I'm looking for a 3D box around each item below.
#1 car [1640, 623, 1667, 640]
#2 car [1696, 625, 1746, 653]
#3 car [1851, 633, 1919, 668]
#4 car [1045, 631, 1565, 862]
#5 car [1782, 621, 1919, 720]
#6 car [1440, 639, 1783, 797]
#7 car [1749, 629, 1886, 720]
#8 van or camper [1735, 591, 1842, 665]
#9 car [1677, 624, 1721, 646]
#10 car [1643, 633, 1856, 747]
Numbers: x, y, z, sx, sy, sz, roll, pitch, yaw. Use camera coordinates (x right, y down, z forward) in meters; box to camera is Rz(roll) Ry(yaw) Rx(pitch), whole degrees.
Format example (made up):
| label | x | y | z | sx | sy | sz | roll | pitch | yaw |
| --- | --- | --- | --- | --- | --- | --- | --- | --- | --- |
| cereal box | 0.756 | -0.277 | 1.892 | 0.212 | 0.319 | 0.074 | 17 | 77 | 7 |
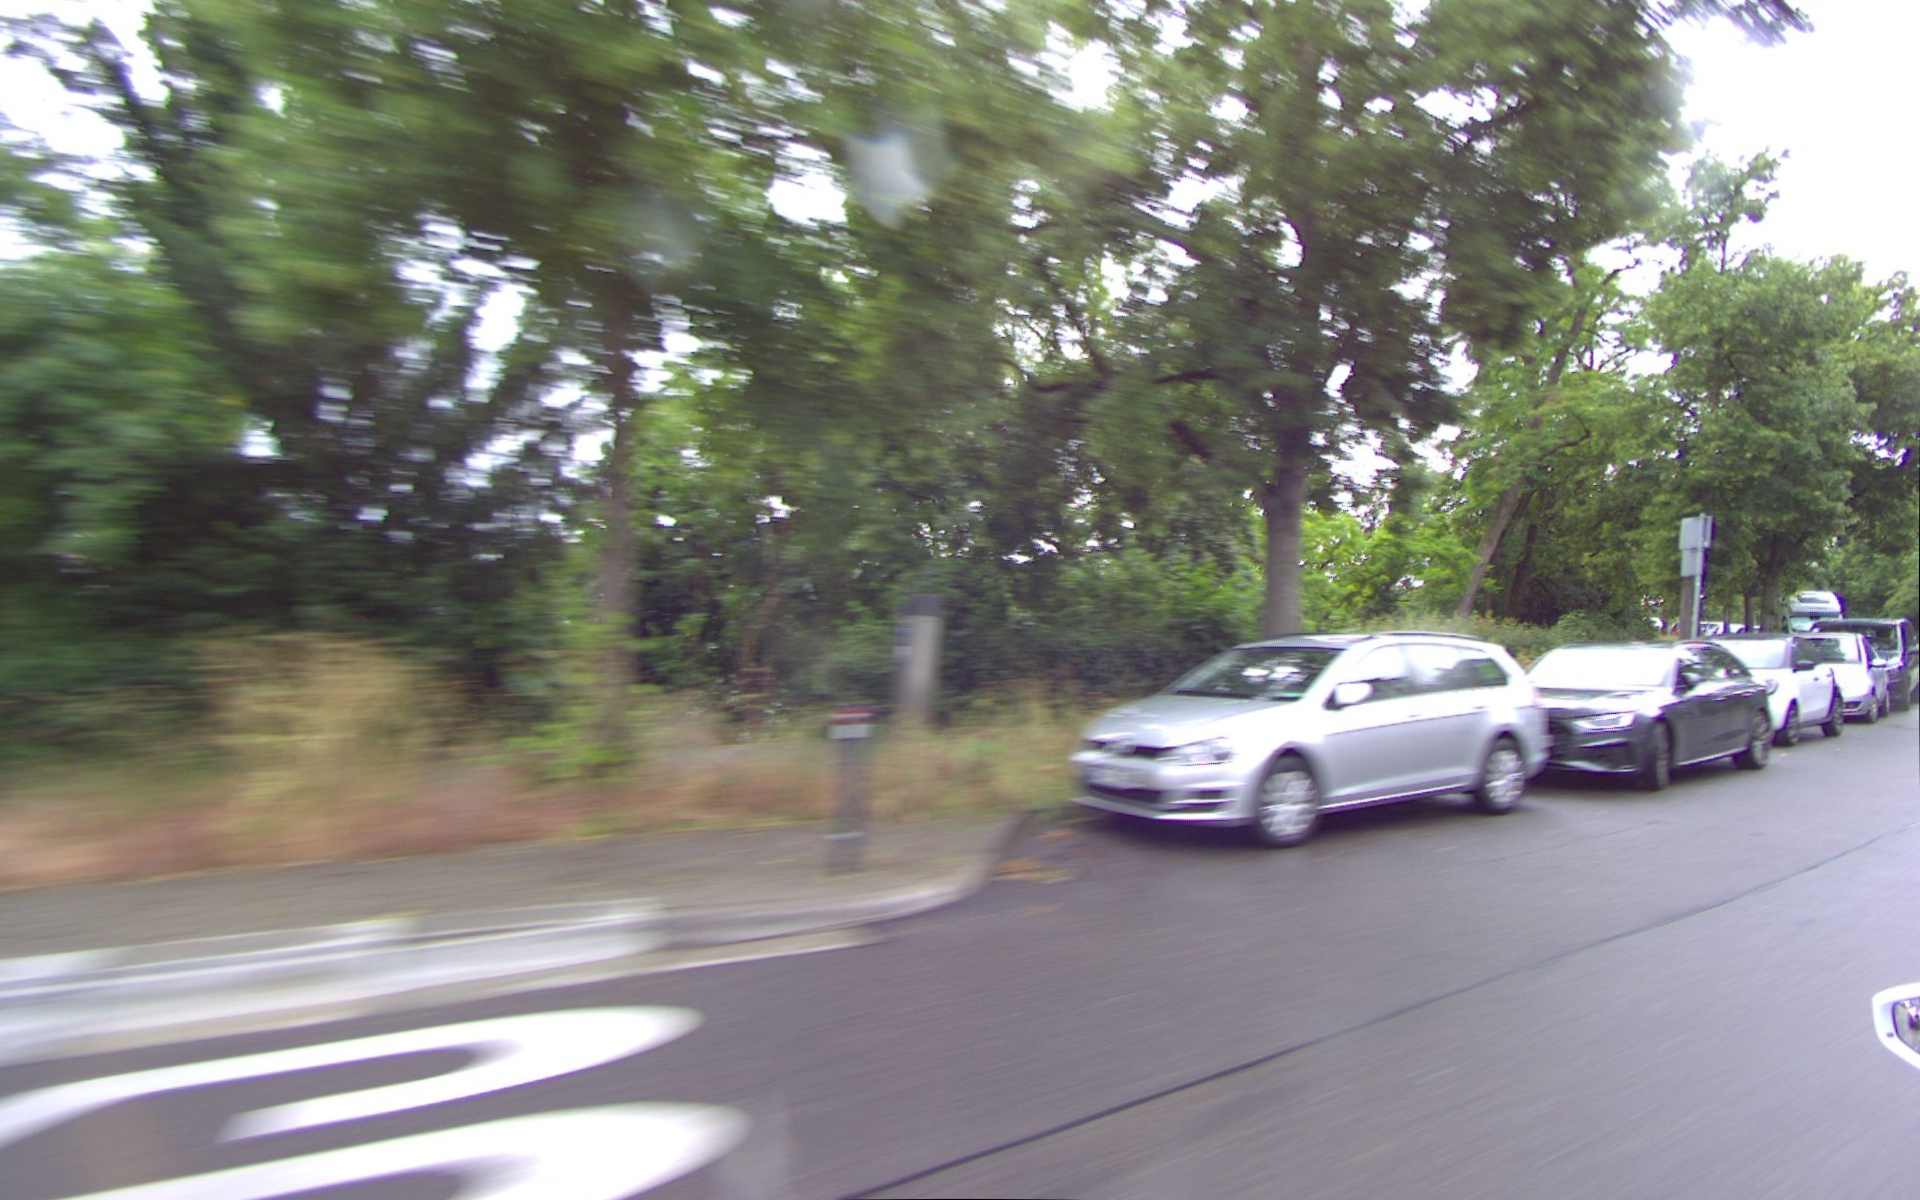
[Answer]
| label | x | y | z | sx | sy | sz | roll | pitch | yaw |
| --- | --- | --- | --- | --- | --- | --- | --- | --- | --- |
| car | 62.867 | 2.832 | 91.109 | 1.665 | 1.456 | 4.247 | -4 | -3 | 30 |
| car | 44.678 | 2.254 | 59.041 | 1.966 | 1.424 | 4.701 | 1 | 0 | 33 |
| car | 48.008 | 2.596 | 52.170 | 1.795 | 1.638 | 3.778 | 1 | 0 | 30 |
| car | 2.921 | 0.997 | 8.196 | 4.325 | 1.448 | 1.647 | 1 | -2 | -31 |
| car | 20.567 | 1.522 | 23.117 | 4.967 | 1.994 | 1.936 | 1 | -2 | -44 |
| car | 7.195 | 1.150 | 10.930 | 4.458 | 1.398 | 1.672 | 2 | -4 | -37 |
| car | 16.569 | 1.391 | 19.346 | 3.742 | 1.572 | 1.667 | 3 | -4 | -45 |
| van or camper | 37.145 | 1.264 | 45.263 | 2.469 | 3.066 | 6.550 | -2 | -2 | 29 |
| car | 50.076 | 2.350 | 68.157 | 1.965 | 1.424 | 4.704 | 1 | -1 | 31 |
| car | 12.203 | 1.306 | 15.446 | 4.170 | 1.529 | 1.670 | 2 | -4 | -39 |
